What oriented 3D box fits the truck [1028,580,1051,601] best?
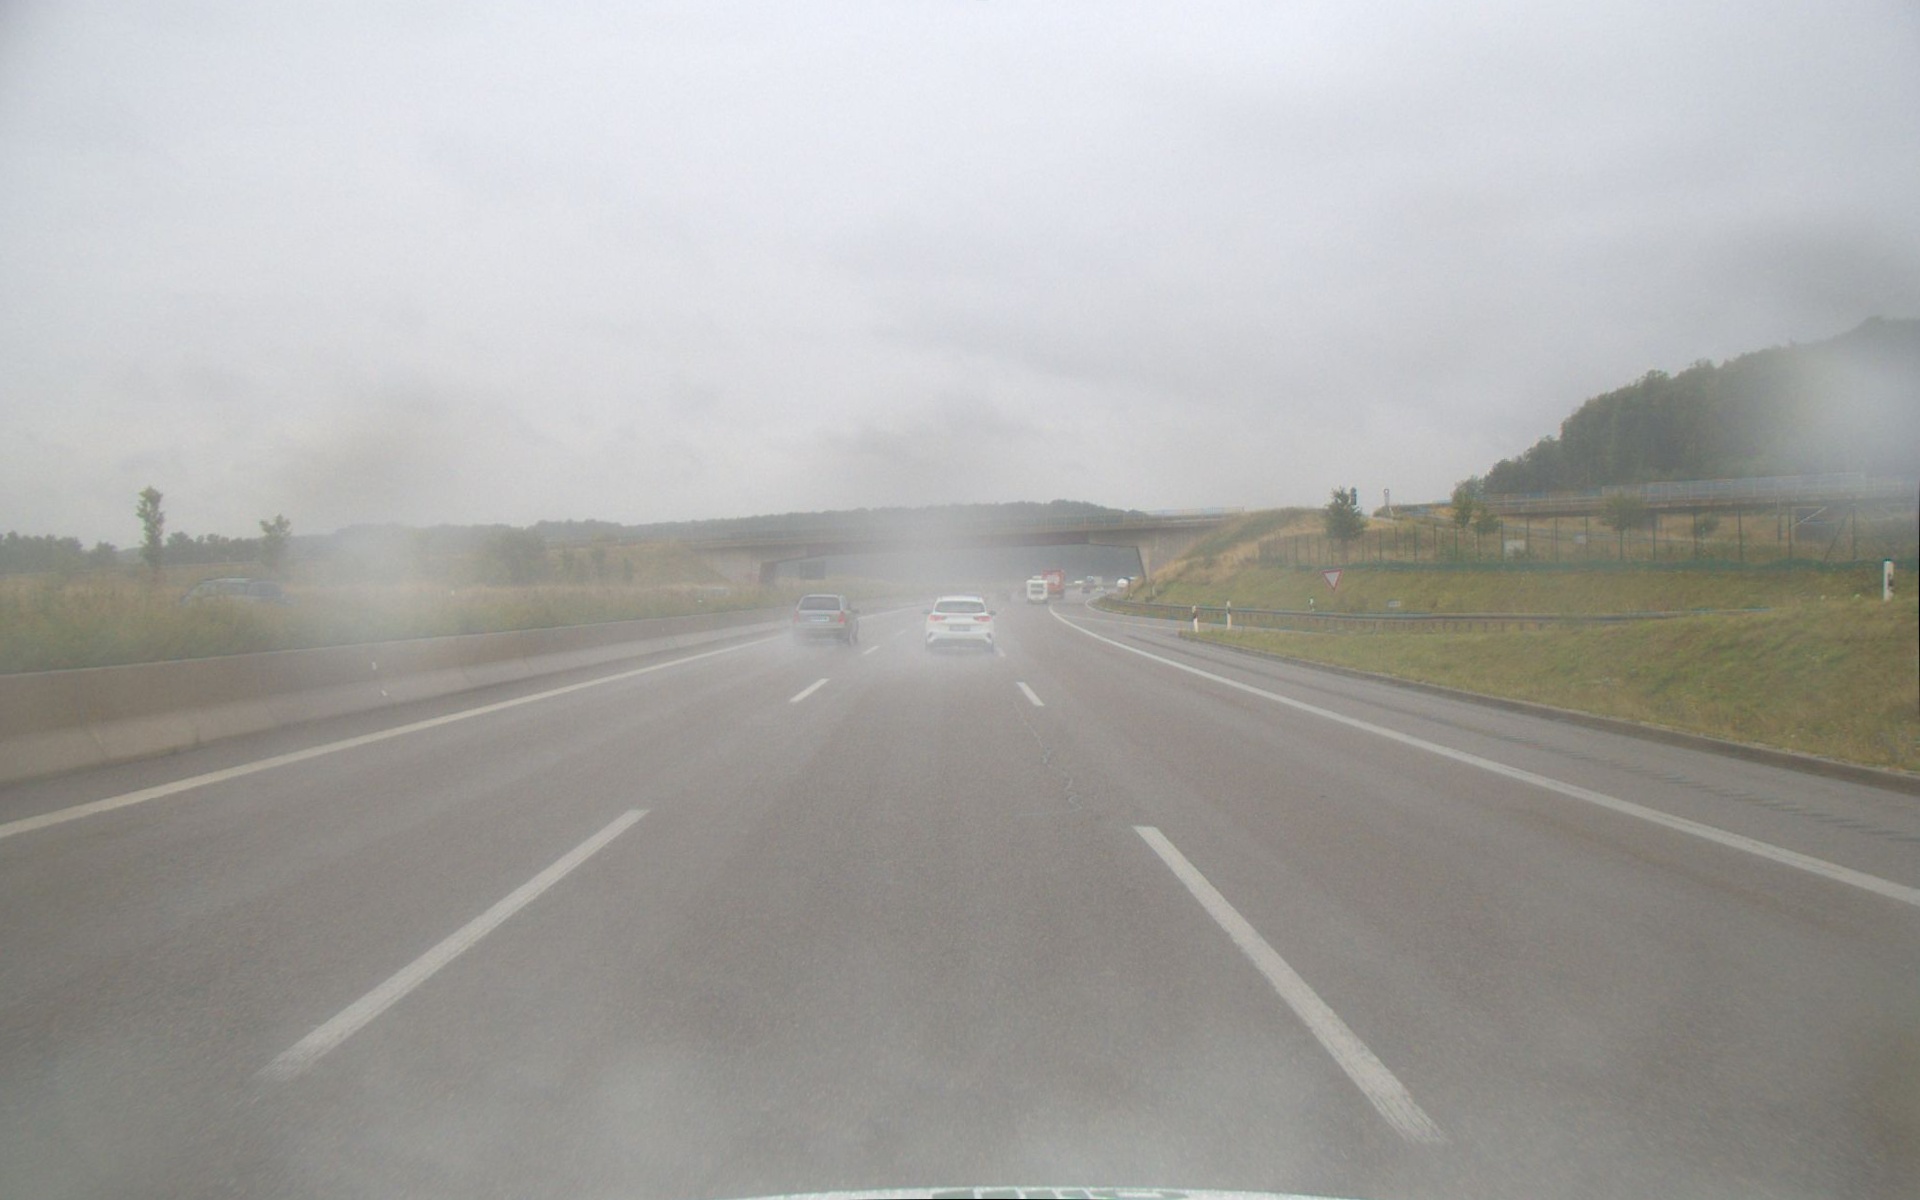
[{"bbox_3d":[8.648,-1.050,179.084,2.357,2.291,4.696,0,0,5],"label":"truck"}]

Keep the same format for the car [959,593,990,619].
[{"bbox_3d":[0.953,0.388,107.812,1.952,1.646,4.001,1,0,2],"label":"car"}]

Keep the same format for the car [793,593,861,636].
[{"bbox_3d":[-3.850,0.438,48.390,1.787,1.177,4.211,1,-1,-2],"label":"car"}]

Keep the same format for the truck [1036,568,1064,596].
[{"bbox_3d":[12.580,-2.583,232.743,3.454,3.808,11.428,1,1,1],"label":"truck"}]

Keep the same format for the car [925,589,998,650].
[{"bbox_3d":[0.000,0.496,43.473,1.830,1.488,3.999,1,0,-1],"label":"car"}]
